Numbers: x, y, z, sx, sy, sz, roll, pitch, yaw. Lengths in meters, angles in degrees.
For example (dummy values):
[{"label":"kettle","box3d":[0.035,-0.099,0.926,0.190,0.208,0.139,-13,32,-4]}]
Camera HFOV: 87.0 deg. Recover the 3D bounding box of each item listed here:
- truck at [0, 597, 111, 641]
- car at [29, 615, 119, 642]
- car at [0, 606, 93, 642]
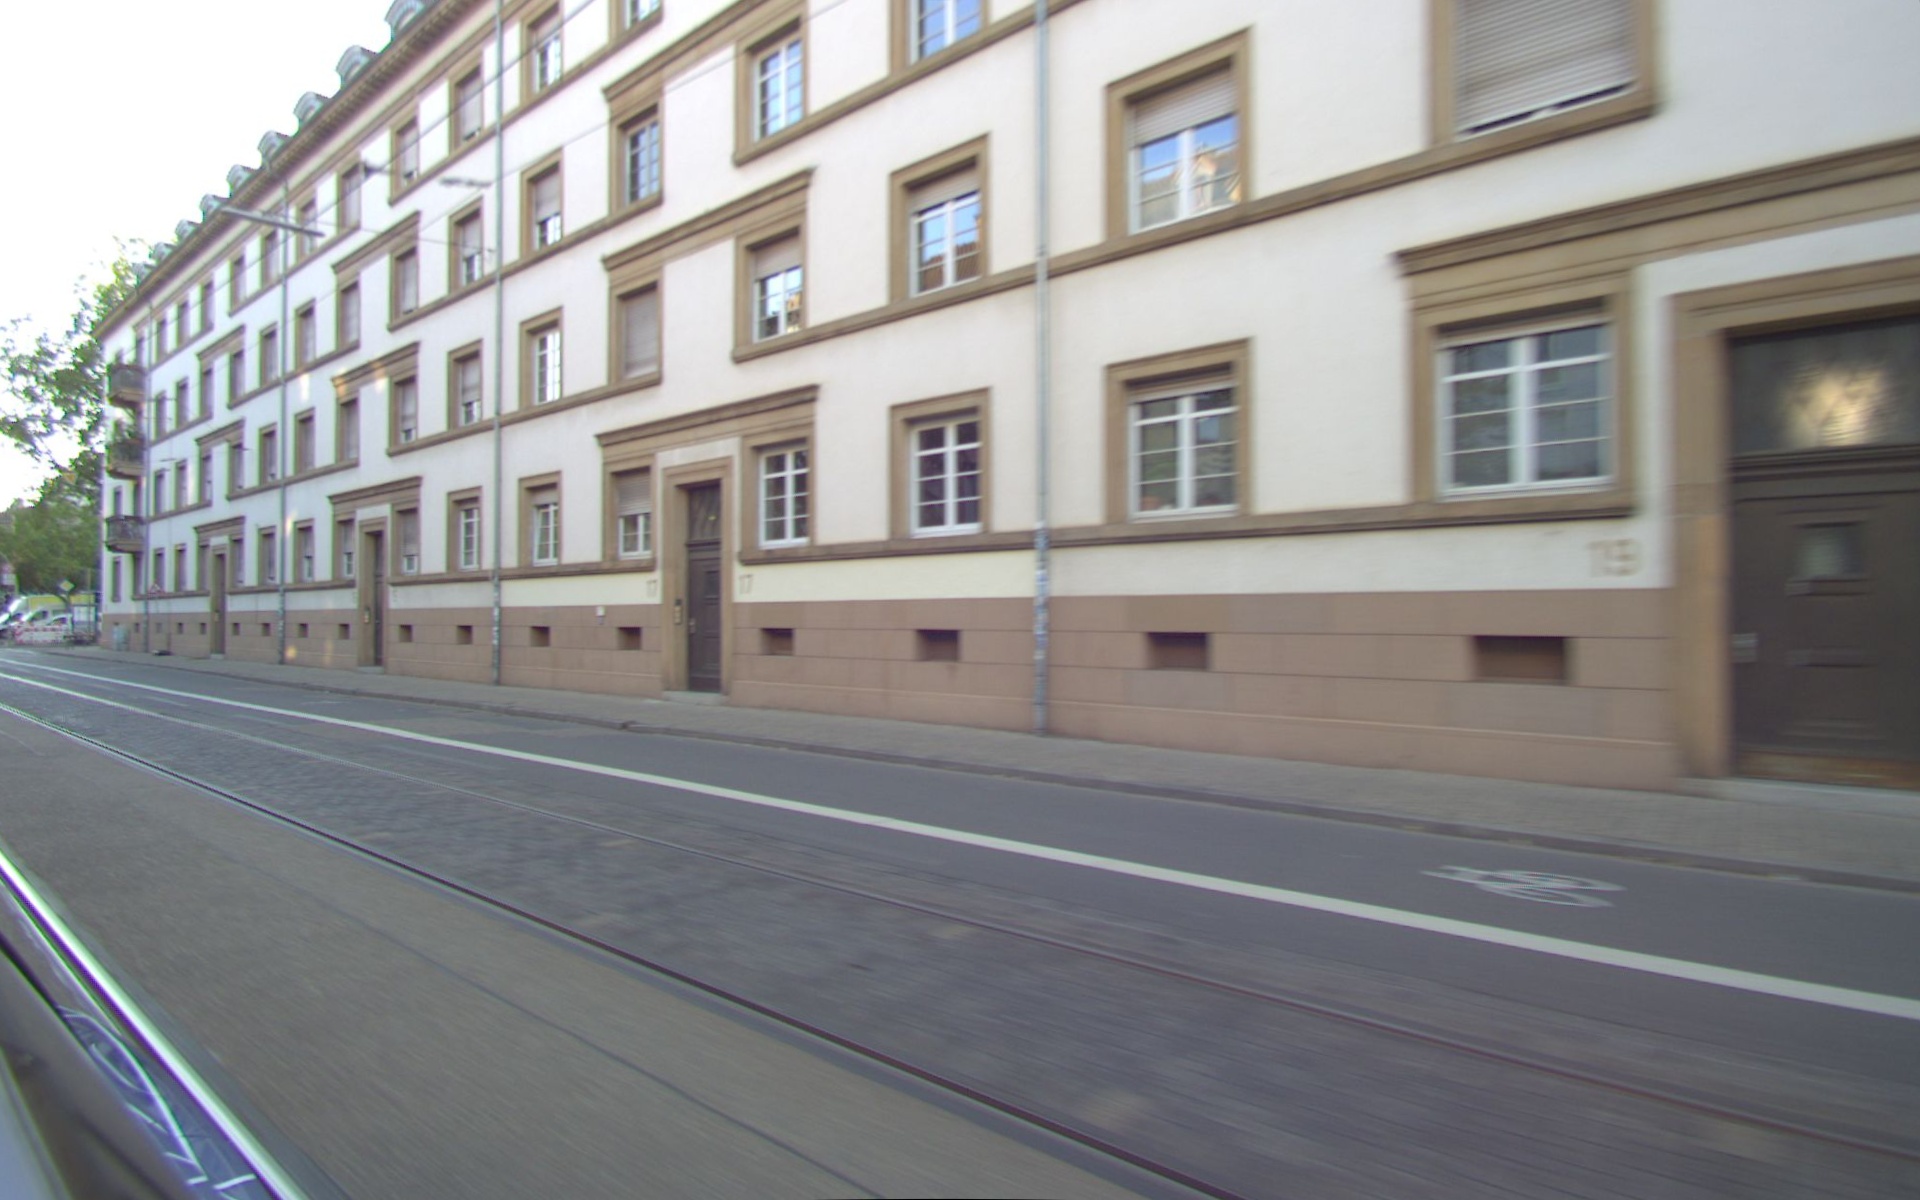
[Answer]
[{"label":"truck","box3d":[-73.786,1.507,82.181,2.562,3.454,6.992,-2,-1,37]},{"label":"car","box3d":[-64.972,2.071,74.303,2.014,1.888,4.782,-2,-1,42]},{"label":"car","box3d":[-69.977,1.786,77.451,2.225,2.617,5.171,-2,-1,36]}]
